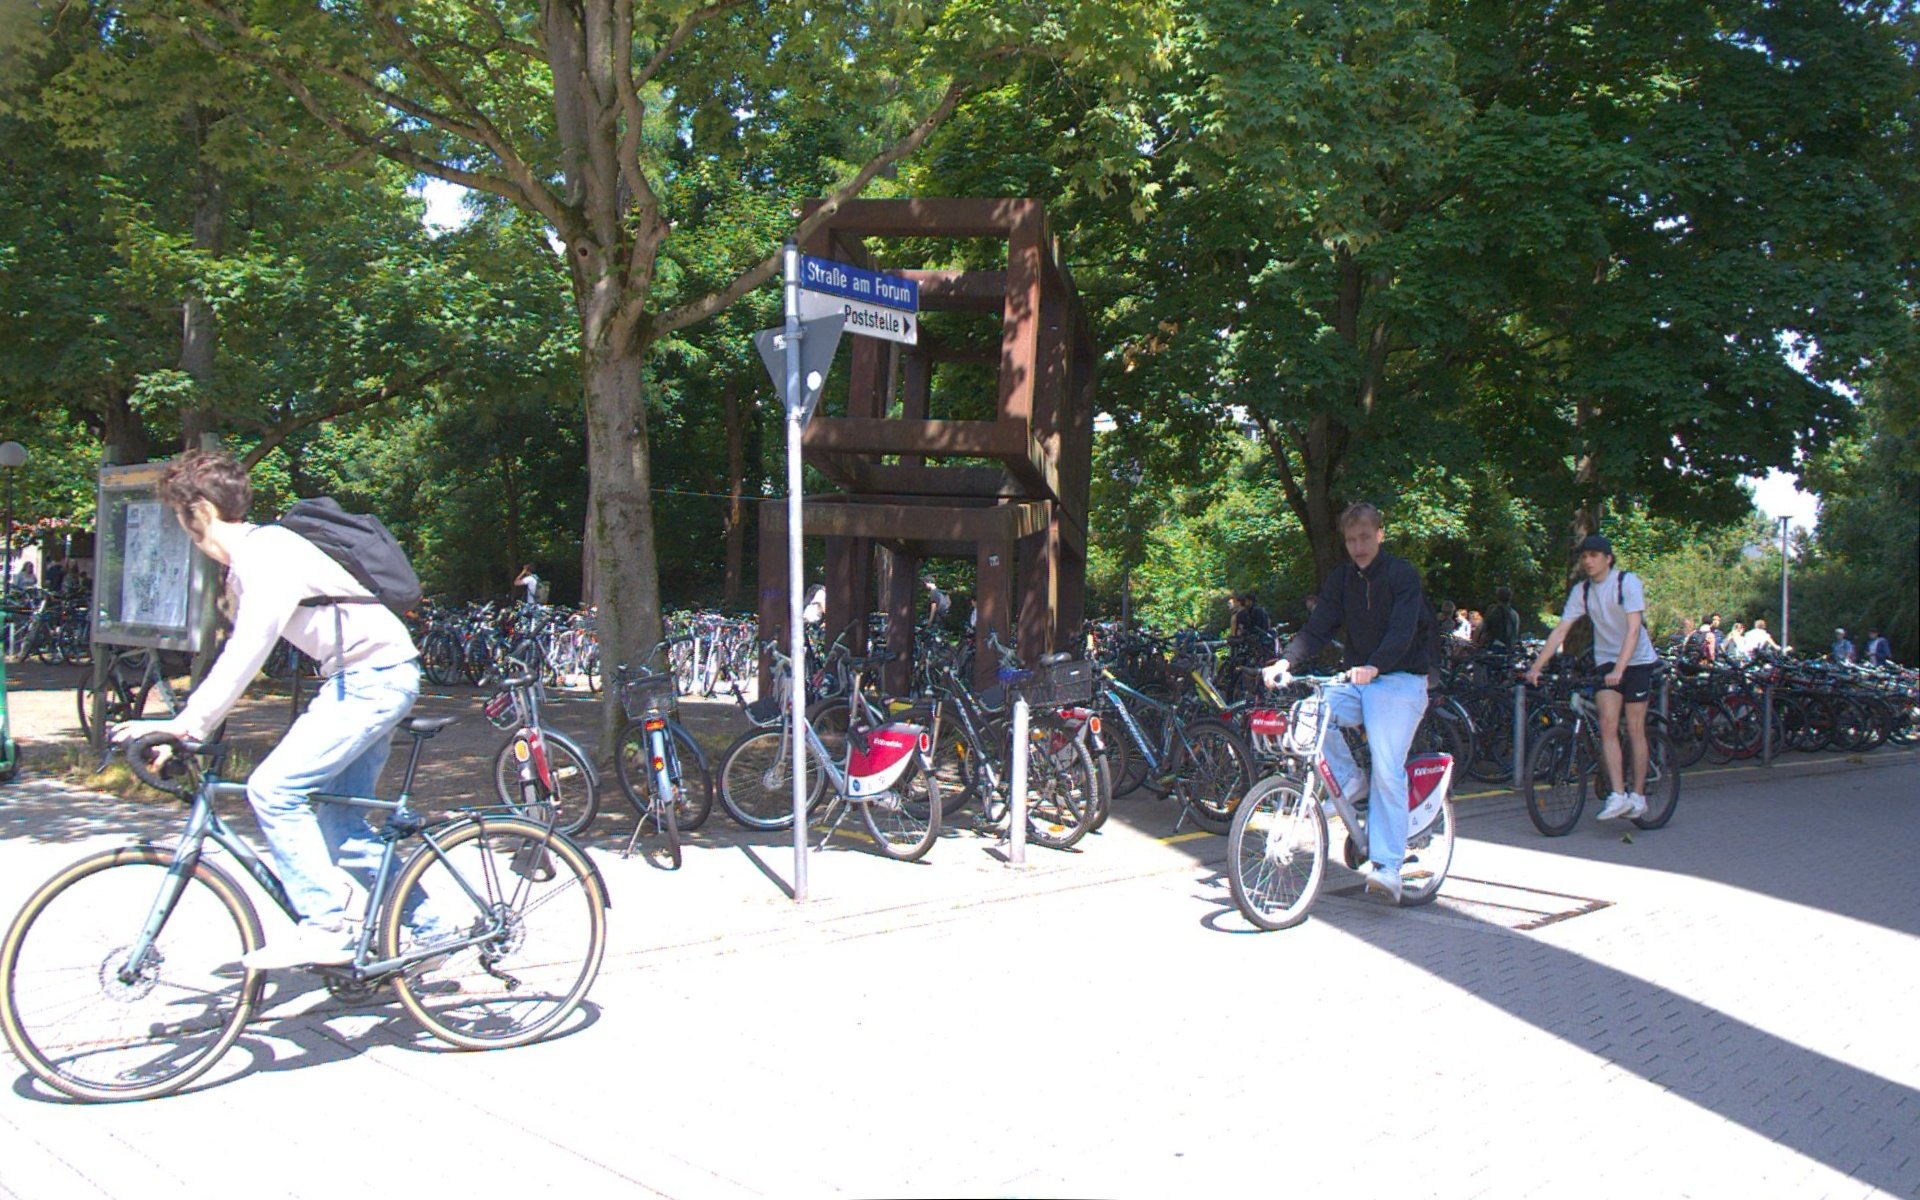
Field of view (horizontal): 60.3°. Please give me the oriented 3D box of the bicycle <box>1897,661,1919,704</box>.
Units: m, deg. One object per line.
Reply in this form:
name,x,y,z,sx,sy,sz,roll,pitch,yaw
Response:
bicycle,24.924,2.157,42.783,0.463,1.065,1.700,3,-1,3

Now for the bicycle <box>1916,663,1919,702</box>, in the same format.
bicycle,27.249,2.340,45.763,1.672,1.065,0.470,4,0,-25

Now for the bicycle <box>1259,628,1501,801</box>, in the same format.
bicycle,3.109,0.824,12.351,0.684,1.127,1.606,4,-1,-41

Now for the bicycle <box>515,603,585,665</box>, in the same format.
bicycle,-7.668,0.640,30.992,0.462,1.102,1.701,3,-1,14

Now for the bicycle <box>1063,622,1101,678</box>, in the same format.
bicycle,2.598,1.059,35.301,0.505,1.129,1.776,3,-1,-4

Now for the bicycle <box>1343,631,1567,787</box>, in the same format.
bicycle,4.050,0.866,13.586,1.599,1.127,0.642,3,-1,39

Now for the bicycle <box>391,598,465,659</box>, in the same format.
bicycle,-10.163,0.555,31.650,0.462,1.102,1.701,3,-1,14

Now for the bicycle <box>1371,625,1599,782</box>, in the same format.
bicycle,4.446,0.853,14.082,1.752,1.182,0.494,3,-1,39

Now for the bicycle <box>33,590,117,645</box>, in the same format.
bicycle,-18.345,0.374,34.327,0.462,1.102,1.701,3,-1,14

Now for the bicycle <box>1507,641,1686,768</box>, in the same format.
bicycle,6.279,1.015,16.396,0.555,1.127,1.612,4,-1,-32

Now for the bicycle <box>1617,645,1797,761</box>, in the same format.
bicycle,8.206,1.119,18.222,1.711,1.127,0.493,3,-1,44

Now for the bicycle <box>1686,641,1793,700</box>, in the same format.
bicycle,15.712,1.406,33.364,1.870,1.065,0.540,2,-1,34

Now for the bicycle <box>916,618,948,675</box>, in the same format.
bicycle,-0.602,0.968,35.015,0.505,1.129,1.776,3,-1,-4

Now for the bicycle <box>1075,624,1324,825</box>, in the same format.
bicycle,1.501,0.759,10.588,0.492,1.127,1.606,4,-1,-41

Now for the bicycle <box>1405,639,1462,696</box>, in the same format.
bicycle,10.183,1.438,35.620,0.464,1.129,1.775,3,-1,-7

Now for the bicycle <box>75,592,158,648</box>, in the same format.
bicycle,-17.376,0.421,34.124,0.462,1.102,1.701,3,-1,14

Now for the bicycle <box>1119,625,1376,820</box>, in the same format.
bicycle,1.880,0.777,10.999,0.624,1.127,1.605,4,-1,-41

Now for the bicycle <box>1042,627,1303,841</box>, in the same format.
bicycle,1.256,0.770,10.033,0.492,1.127,1.606,4,-1,-41

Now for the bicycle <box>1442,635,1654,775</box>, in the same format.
bicycle,5.371,0.942,15.197,0.711,1.127,1.706,4,-1,-35

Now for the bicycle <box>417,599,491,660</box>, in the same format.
bicycle,-9.608,0.567,31.466,0.462,1.102,1.701,3,-1,14

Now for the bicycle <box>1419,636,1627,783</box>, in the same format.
bicycle,4.867,0.925,14.355,1.599,1.127,0.494,3,-1,39

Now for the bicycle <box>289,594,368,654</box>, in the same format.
bicycle,-12.184,0.474,31.970,0.462,1.102,1.701,3,-1,14

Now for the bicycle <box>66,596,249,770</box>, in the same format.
bicycle,-5.907,0.578,12.128,1.804,1.127,0.391,3,-1,38

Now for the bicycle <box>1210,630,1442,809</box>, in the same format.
bicycle,2.592,0.825,11.854,0.492,1.127,1.606,4,-1,-41

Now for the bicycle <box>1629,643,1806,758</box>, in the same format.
bicycle,8.563,1.119,18.735,1.708,1.146,0.494,3,-1,40

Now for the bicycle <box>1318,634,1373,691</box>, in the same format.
bicycle,8.255,1.333,35.504,0.506,1.129,1.775,3,-1,-7

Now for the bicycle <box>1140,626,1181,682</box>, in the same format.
bicycle,4.310,1.153,35.635,0.505,1.129,1.776,3,-1,-4

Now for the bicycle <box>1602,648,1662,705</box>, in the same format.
bicycle,14.600,1.651,35.977,0.463,1.129,1.777,3,-1,-2

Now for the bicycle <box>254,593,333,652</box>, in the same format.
bicycle,-13.049,0.451,32.412,0.462,1.102,1.701,3,-1,14

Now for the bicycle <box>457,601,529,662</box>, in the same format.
bicycle,-8.836,0.598,31.325,0.462,1.102,1.701,3,-1,14

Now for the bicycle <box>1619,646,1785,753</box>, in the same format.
bicycle,8.718,1.157,19.486,1.699,1.127,0.497,3,-1,20

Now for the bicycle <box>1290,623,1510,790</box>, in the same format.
bicycle,3.461,0.814,13.097,1.602,1.170,0.493,3,-1,45

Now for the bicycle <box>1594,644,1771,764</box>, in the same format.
bicycle,7.641,1.079,17.563,0.566,1.127,1.726,4,-1,-27

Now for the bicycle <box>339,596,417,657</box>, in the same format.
bicycle,-11.111,0.511,31.627,0.462,1.102,1.701,3,-1,14

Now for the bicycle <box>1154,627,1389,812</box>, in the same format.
bicycle,2.142,0.799,11.534,0.501,1.127,1.606,4,-1,-41

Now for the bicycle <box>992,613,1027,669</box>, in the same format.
bicycle,1.055,0.857,35.245,0.505,1.129,1.776,3,-1,-4

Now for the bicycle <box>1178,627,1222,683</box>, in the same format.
bicycle,5.148,1.172,35.541,0.505,1.129,1.776,3,-1,-4

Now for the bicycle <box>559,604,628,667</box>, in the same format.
bicycle,-6.740,0.663,30.508,0.462,1.102,1.701,3,-1,14

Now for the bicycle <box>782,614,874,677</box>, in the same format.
bicycle,-2.551,0.871,31.922,1.662,1.102,0.603,3,-1,28

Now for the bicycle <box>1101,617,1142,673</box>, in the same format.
bicycle,3.450,0.948,35.430,0.505,1.129,1.776,3,-1,-4

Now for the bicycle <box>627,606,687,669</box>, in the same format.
bicycle,-5.564,0.693,30.464,0.462,1.102,1.701,3,-1,10

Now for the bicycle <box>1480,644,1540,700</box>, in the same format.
bicycle,12.044,1.561,36.270,0.464,1.129,1.775,3,-1,-7

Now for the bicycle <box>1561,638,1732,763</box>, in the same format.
bicycle,7.103,1.023,17.184,0.490,1.163,1.612,4,-1,-32

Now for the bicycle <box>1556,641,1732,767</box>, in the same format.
bicycle,6.836,1.020,16.596,0.490,1.127,1.612,4,-1,-32

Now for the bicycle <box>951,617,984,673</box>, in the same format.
bicycle,0.151,0.935,35.095,0.505,1.129,1.776,3,-1,-4

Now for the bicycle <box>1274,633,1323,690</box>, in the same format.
bicycle,7.234,1.305,35.375,0.505,1.129,1.776,3,-1,-4
